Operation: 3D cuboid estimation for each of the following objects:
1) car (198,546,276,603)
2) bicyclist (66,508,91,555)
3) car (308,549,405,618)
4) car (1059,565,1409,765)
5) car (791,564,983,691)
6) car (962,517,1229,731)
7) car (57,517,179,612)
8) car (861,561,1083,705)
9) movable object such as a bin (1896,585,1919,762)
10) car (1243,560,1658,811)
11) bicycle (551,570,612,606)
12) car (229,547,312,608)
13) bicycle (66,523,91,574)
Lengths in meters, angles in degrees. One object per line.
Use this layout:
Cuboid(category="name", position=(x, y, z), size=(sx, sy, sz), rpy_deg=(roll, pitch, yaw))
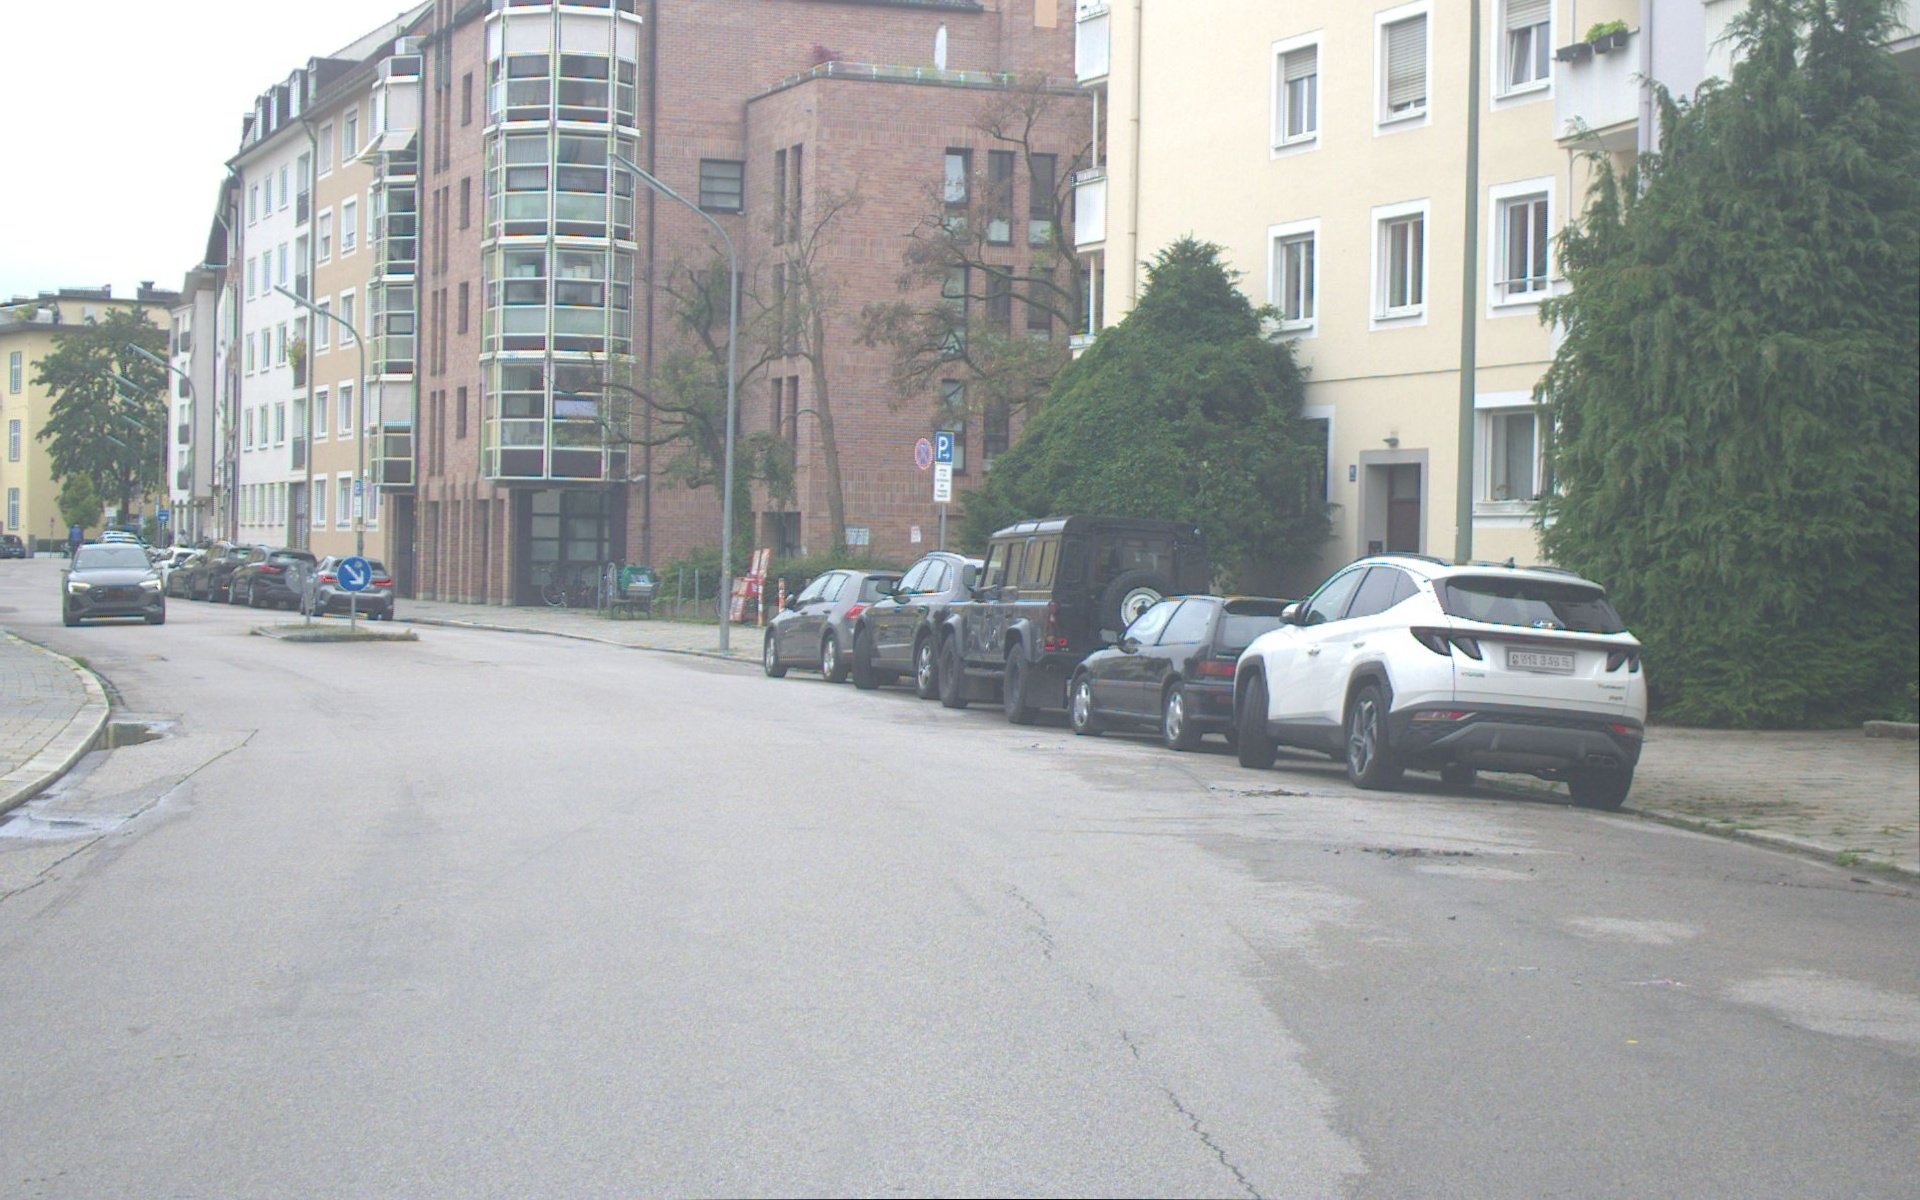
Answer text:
Cuboid(category="car", position=(-19.631, -0.704, 93.259), size=(1.632, 1.478, 3.611), rpy_deg=(1, 1, -18))
Cuboid(category="bicyclist", position=(-39.470, -3.062, 153.915), size=(1.033, 2.007, 1.186), rpy_deg=(2, -1, -15))
Cuboid(category="car", position=(-13.815, -0.388, 78.598), size=(1.632, 1.478, 3.611), rpy_deg=(2, 1, -18))
Cuboid(category="car", position=(2.263, 0.507, 29.410), size=(1.780, 1.513, 3.721), rpy_deg=(2, 1, -15))
Cuboid(category="car", position=(-0.969, 0.314, 43.459), size=(1.780, 1.505, 3.721), rpy_deg=(1, 1, -11))
Cuboid(category="car", position=(1.270, 0.194, 33.745), size=(1.780, 1.970, 3.721), rpy_deg=(-1, 1, -11))
Cuboid(category="car", position=(-17.027, -0.741, 69.433), size=(1.993, 1.829, 4.168), rpy_deg=(1, 1, -19))
Cuboid(category="car", position=(0.083, 0.344, 39.098), size=(1.780, 1.505, 3.721), rpy_deg=(2, 0, -11))
Cuboid(category="movable object such as a bin", position=(8.478, 0.572, 27.927), size=(1.289, 1.429, 1.051), rpy_deg=(-3, 1, -11))
Cuboid(category="car", position=(3.378, 0.539, 24.451), size=(1.830, 1.568, 4.001), rpy_deg=(2, 1, -8))
Cuboid(category="bicycle", position=(-9.536, -0.313, 86.490), size=(1.101, 0.851, 1.728), rpy_deg=(2, 1, -21))
Cuboid(category="car", position=(-17.760, -0.586, 88.417), size=(1.632, 1.478, 3.611), rpy_deg=(2, 1, -18))
Cuboid(category="bicycle", position=(-39.405, -2.302, 153.692), size=(1.025, 2.007, 3.282), rpy_deg=(1, -4, -14))
